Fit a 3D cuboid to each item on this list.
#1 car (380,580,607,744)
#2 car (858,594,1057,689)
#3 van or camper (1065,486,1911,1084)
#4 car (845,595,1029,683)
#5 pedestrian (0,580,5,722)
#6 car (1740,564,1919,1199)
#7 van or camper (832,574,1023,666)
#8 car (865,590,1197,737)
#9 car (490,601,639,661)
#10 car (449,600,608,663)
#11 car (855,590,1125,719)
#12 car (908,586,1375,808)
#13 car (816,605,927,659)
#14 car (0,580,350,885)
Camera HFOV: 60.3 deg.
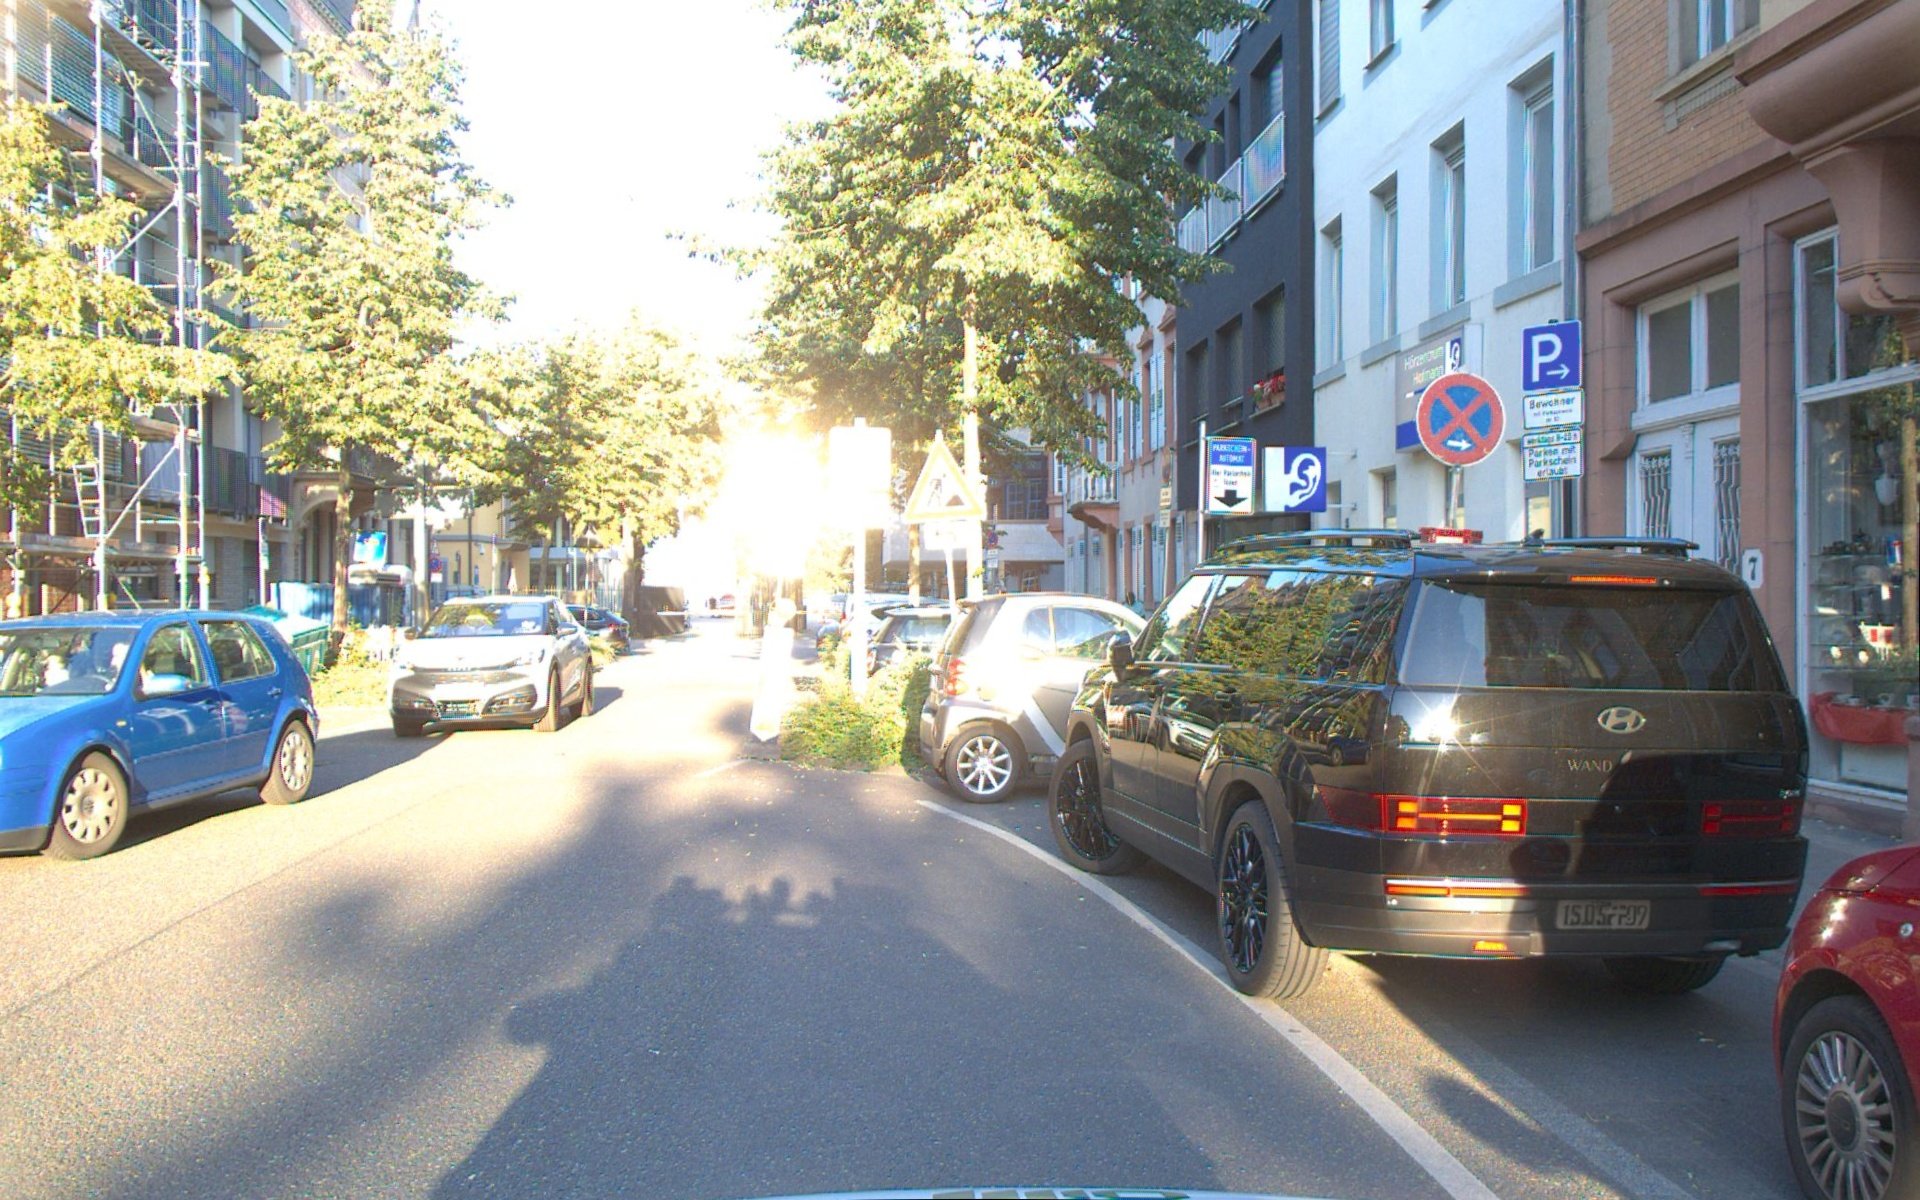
[{"bbox_3d":[-5.597,0.682,20.387,1.836,1.727,4.317,-2,0,-5],"label":"car"},{"bbox_3d":[-0.089,0.780,31.479,3.614,1.699,1.856,1,0,-6],"label":"car"},{"bbox_3d":[1.853,0.569,7.444,1.854,1.839,4.451,0,0,-9],"label":"van or camper"},{"bbox_3d":[-0.508,0.787,33.935,3.614,1.699,1.856,1,0,-6],"label":"car"},{"bbox_3d":[-12.673,0.658,20.999,0.727,1.814,0.656,-1,0,-5],"label":"pedestrian"},{"bbox_3d":[2.956,0.727,2.866,1.495,1.597,3.420,1,0,-2],"label":"car"},{"bbox_3d":[-0.805,0.464,38.982,4.354,2.041,1.856,1,0,-6],"label":"van or camper"},{"bbox_3d":[0.820,0.765,20.712,3.918,1.699,1.856,1,0,-6],"label":"car"},{"bbox_3d":[-11.513,0.875,48.379,3.906,1.713,1.890,0,0,-2],"label":"car"},{"bbox_3d":[-11.871,0.854,45.673,3.906,1.713,1.890,0,0,-2],"label":"car"},{"bbox_3d":[0.363,0.750,23.444,3.614,1.699,1.856,1,0,-6],"label":"car"},{"bbox_3d":[1.391,0.702,13.156,3.409,1.603,1.503,0,0,-13],"label":"car"},{"bbox_3d":[-2.741,1.000,51.961,1.817,1.595,3.690,1,0,29],"label":"car"},{"bbox_3d":[-5.644,0.713,10.725,1.653,1.590,4.120,-2,0,3],"label":"car"}]
